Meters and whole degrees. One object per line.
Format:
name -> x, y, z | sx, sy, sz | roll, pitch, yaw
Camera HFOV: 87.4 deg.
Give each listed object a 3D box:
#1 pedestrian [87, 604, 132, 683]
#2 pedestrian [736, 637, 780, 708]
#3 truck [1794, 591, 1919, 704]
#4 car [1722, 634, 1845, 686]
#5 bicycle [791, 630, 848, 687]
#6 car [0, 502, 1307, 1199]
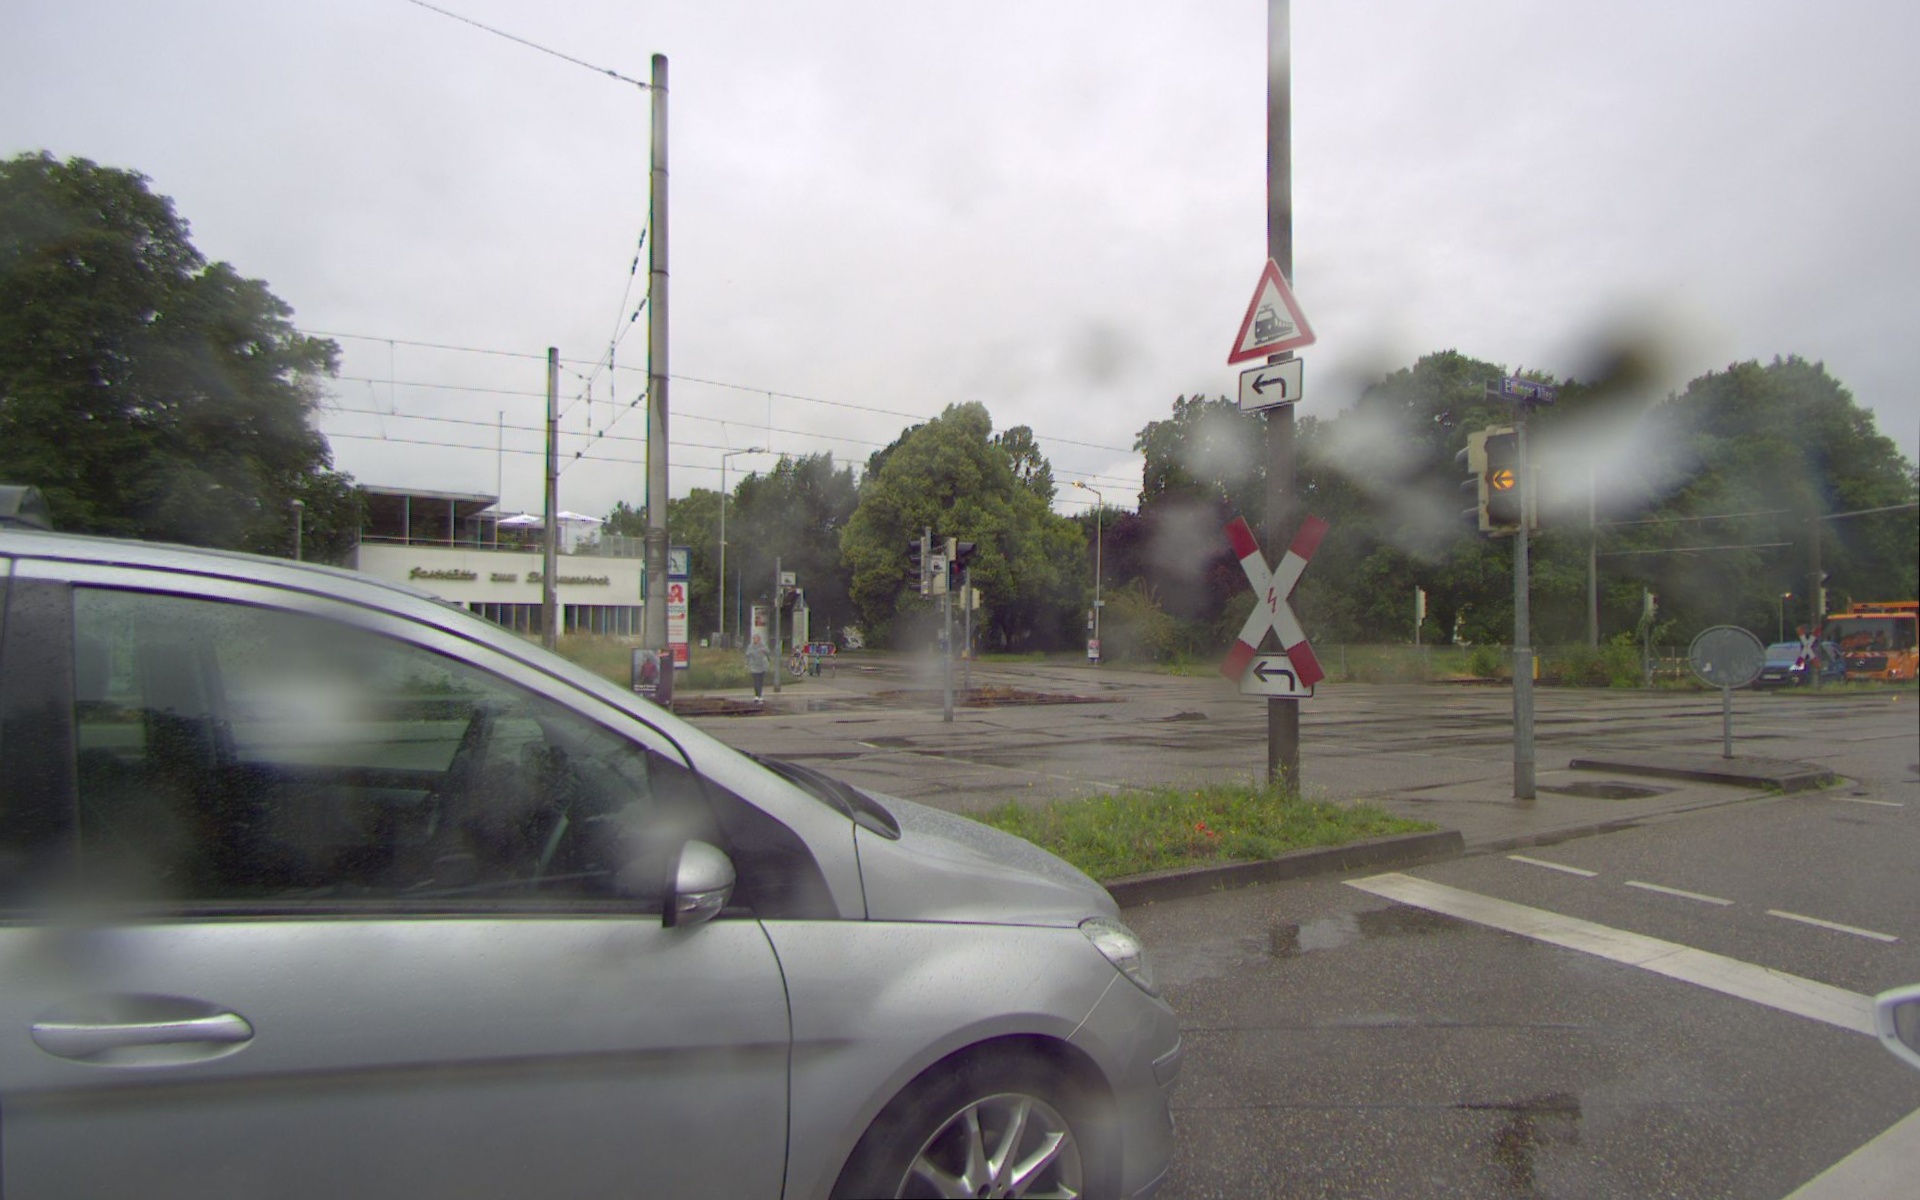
pedestrian -> -19.996, 1.017, 23.628 | 0.673, 1.816, 0.626 | 2, 0, -31
pedestrian -> -4.934, 1.756, 24.525 | 0.774, 1.679, 0.797 | 2, 0, -32
truck -> 38.967, 1.945, 41.801 | 10.289, 4.222, 3.367 | 2, -1, -31
car -> 30.118, 2.188, 36.716 | 4.473, 1.732, 1.984 | 2, -1, -30
bicycle -> -4.513, 1.863, 32.346 | 1.714, 1.784, 0.637 | 1, -2, -30
car -> -1.350, 0.678, 2.051 | 3.966, 1.564, 1.728 | 2, -1, -30
